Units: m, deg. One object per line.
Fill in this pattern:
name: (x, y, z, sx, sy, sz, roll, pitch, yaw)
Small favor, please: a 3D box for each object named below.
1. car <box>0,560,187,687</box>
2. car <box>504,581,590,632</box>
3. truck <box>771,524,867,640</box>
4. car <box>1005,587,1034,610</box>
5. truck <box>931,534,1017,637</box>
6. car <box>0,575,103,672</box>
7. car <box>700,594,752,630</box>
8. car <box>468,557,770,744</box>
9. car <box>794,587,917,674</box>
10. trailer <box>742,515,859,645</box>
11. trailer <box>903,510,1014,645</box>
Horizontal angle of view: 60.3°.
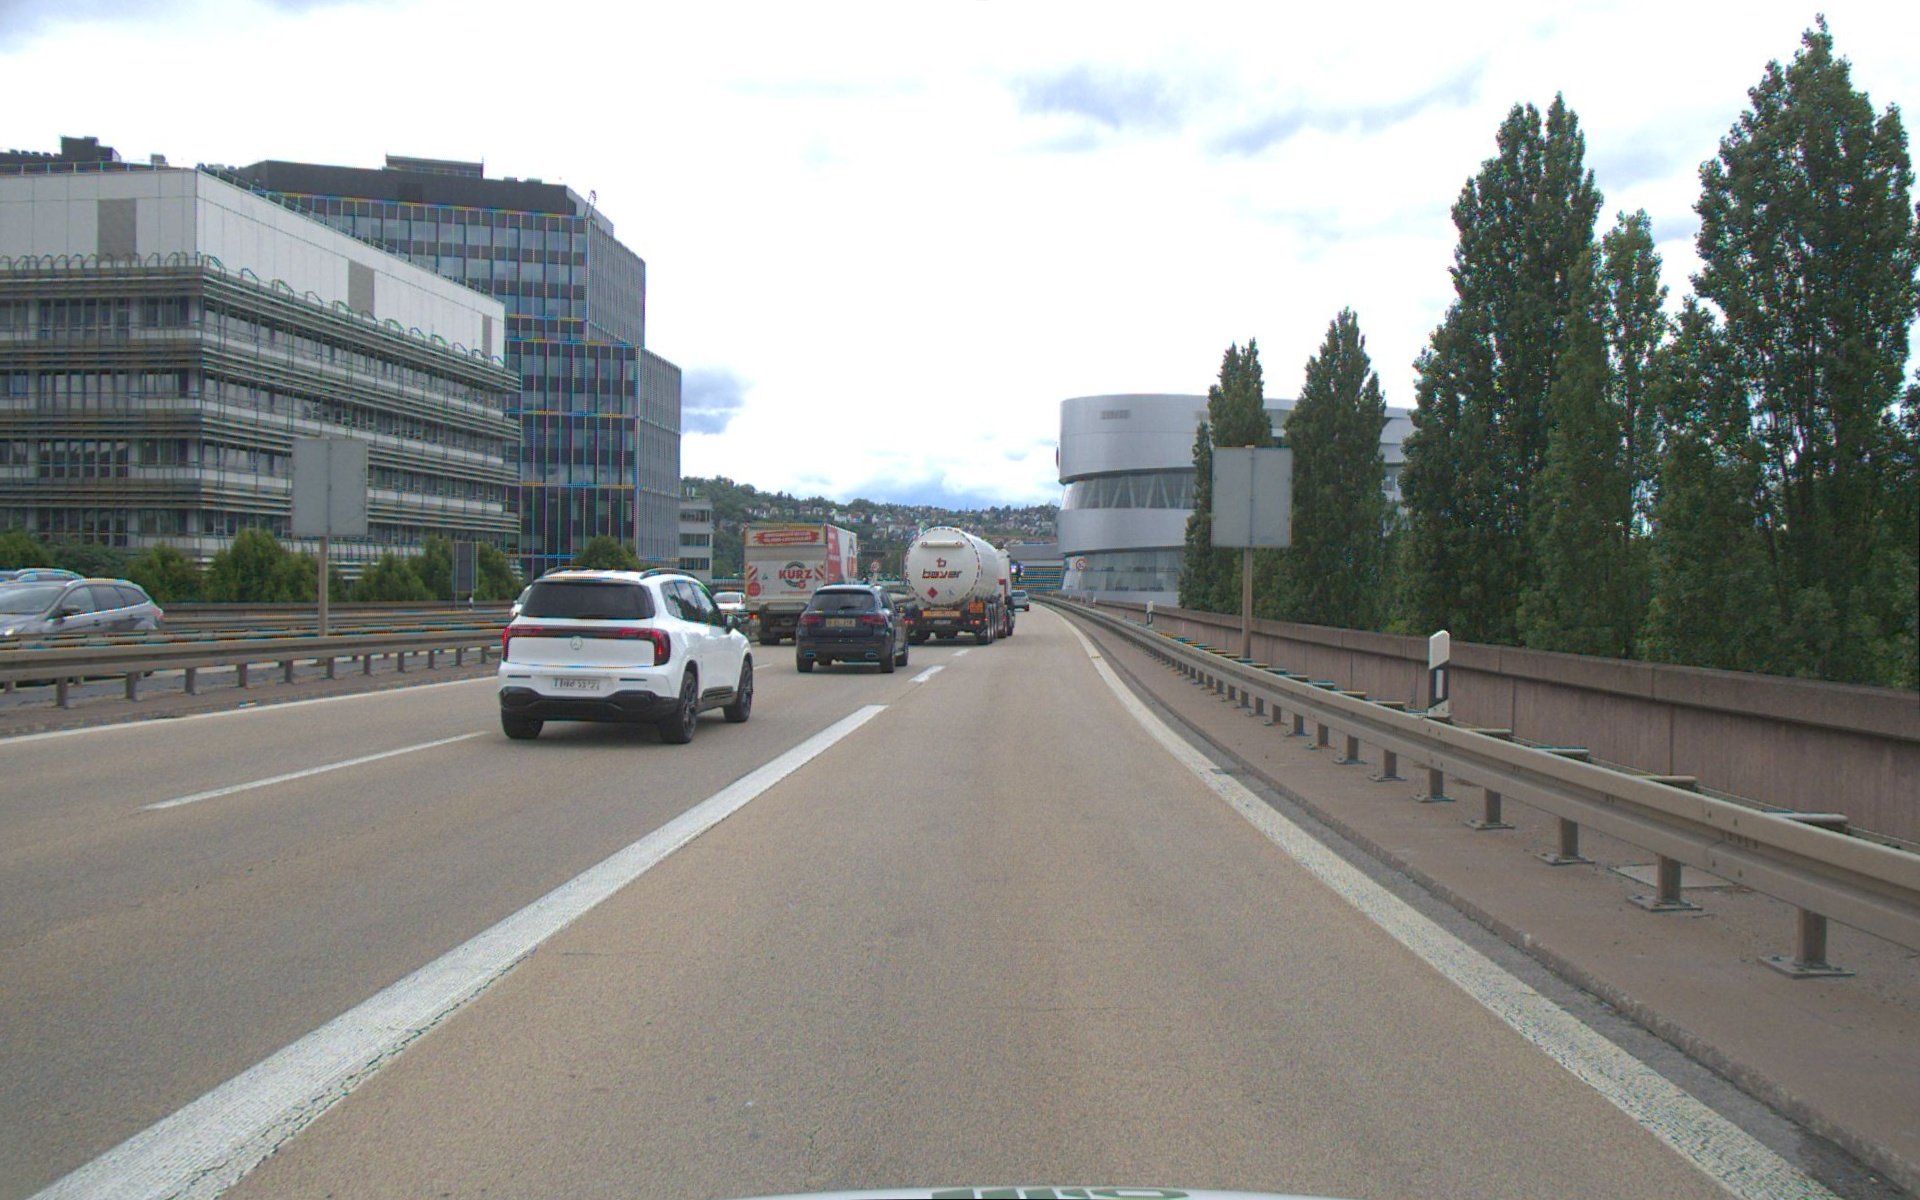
car: (-13.338, 0.310, 23.966, 1.952, 1.664, 4.456, -1, 0, 3)
car: (-15.037, 0.226, 60.477, 1.828, 1.741, 4.602, -1, 0, 2)
truck: (-4.725, -0.598, 56.218, 2.635, 3.754, 4.441, -1, 0, 2)
car: (4.811, -0.107, 134.037, 1.952, 1.564, 4.002, 6, 0, 6)
truck: (0.580, -0.507, 59.443, 2.711, 3.490, 5.968, -1, 0, 4)
car: (-17.419, 0.424, 29.174, 1.952, 1.664, 4.633, -1, 0, 3)
car: (-10.693, 0.527, 75.918, 1.713, 1.588, 4.001, -1, 0, 1)
car: (-3.457, 0.479, 17.820, 1.952, 1.698, 4.894, 1, 0, 3)
car: (-1.966, 0.563, 32.328, 1.808, 1.531, 4.267, 1, 0, 4)
trailer: (-4.881, -0.591, 52.086, 2.634, 3.754, 7.315, -1, 0, 2)
trailer: (0.136, -0.663, 52.920, 2.733, 3.803, 11.161, -1, 0, 4)
